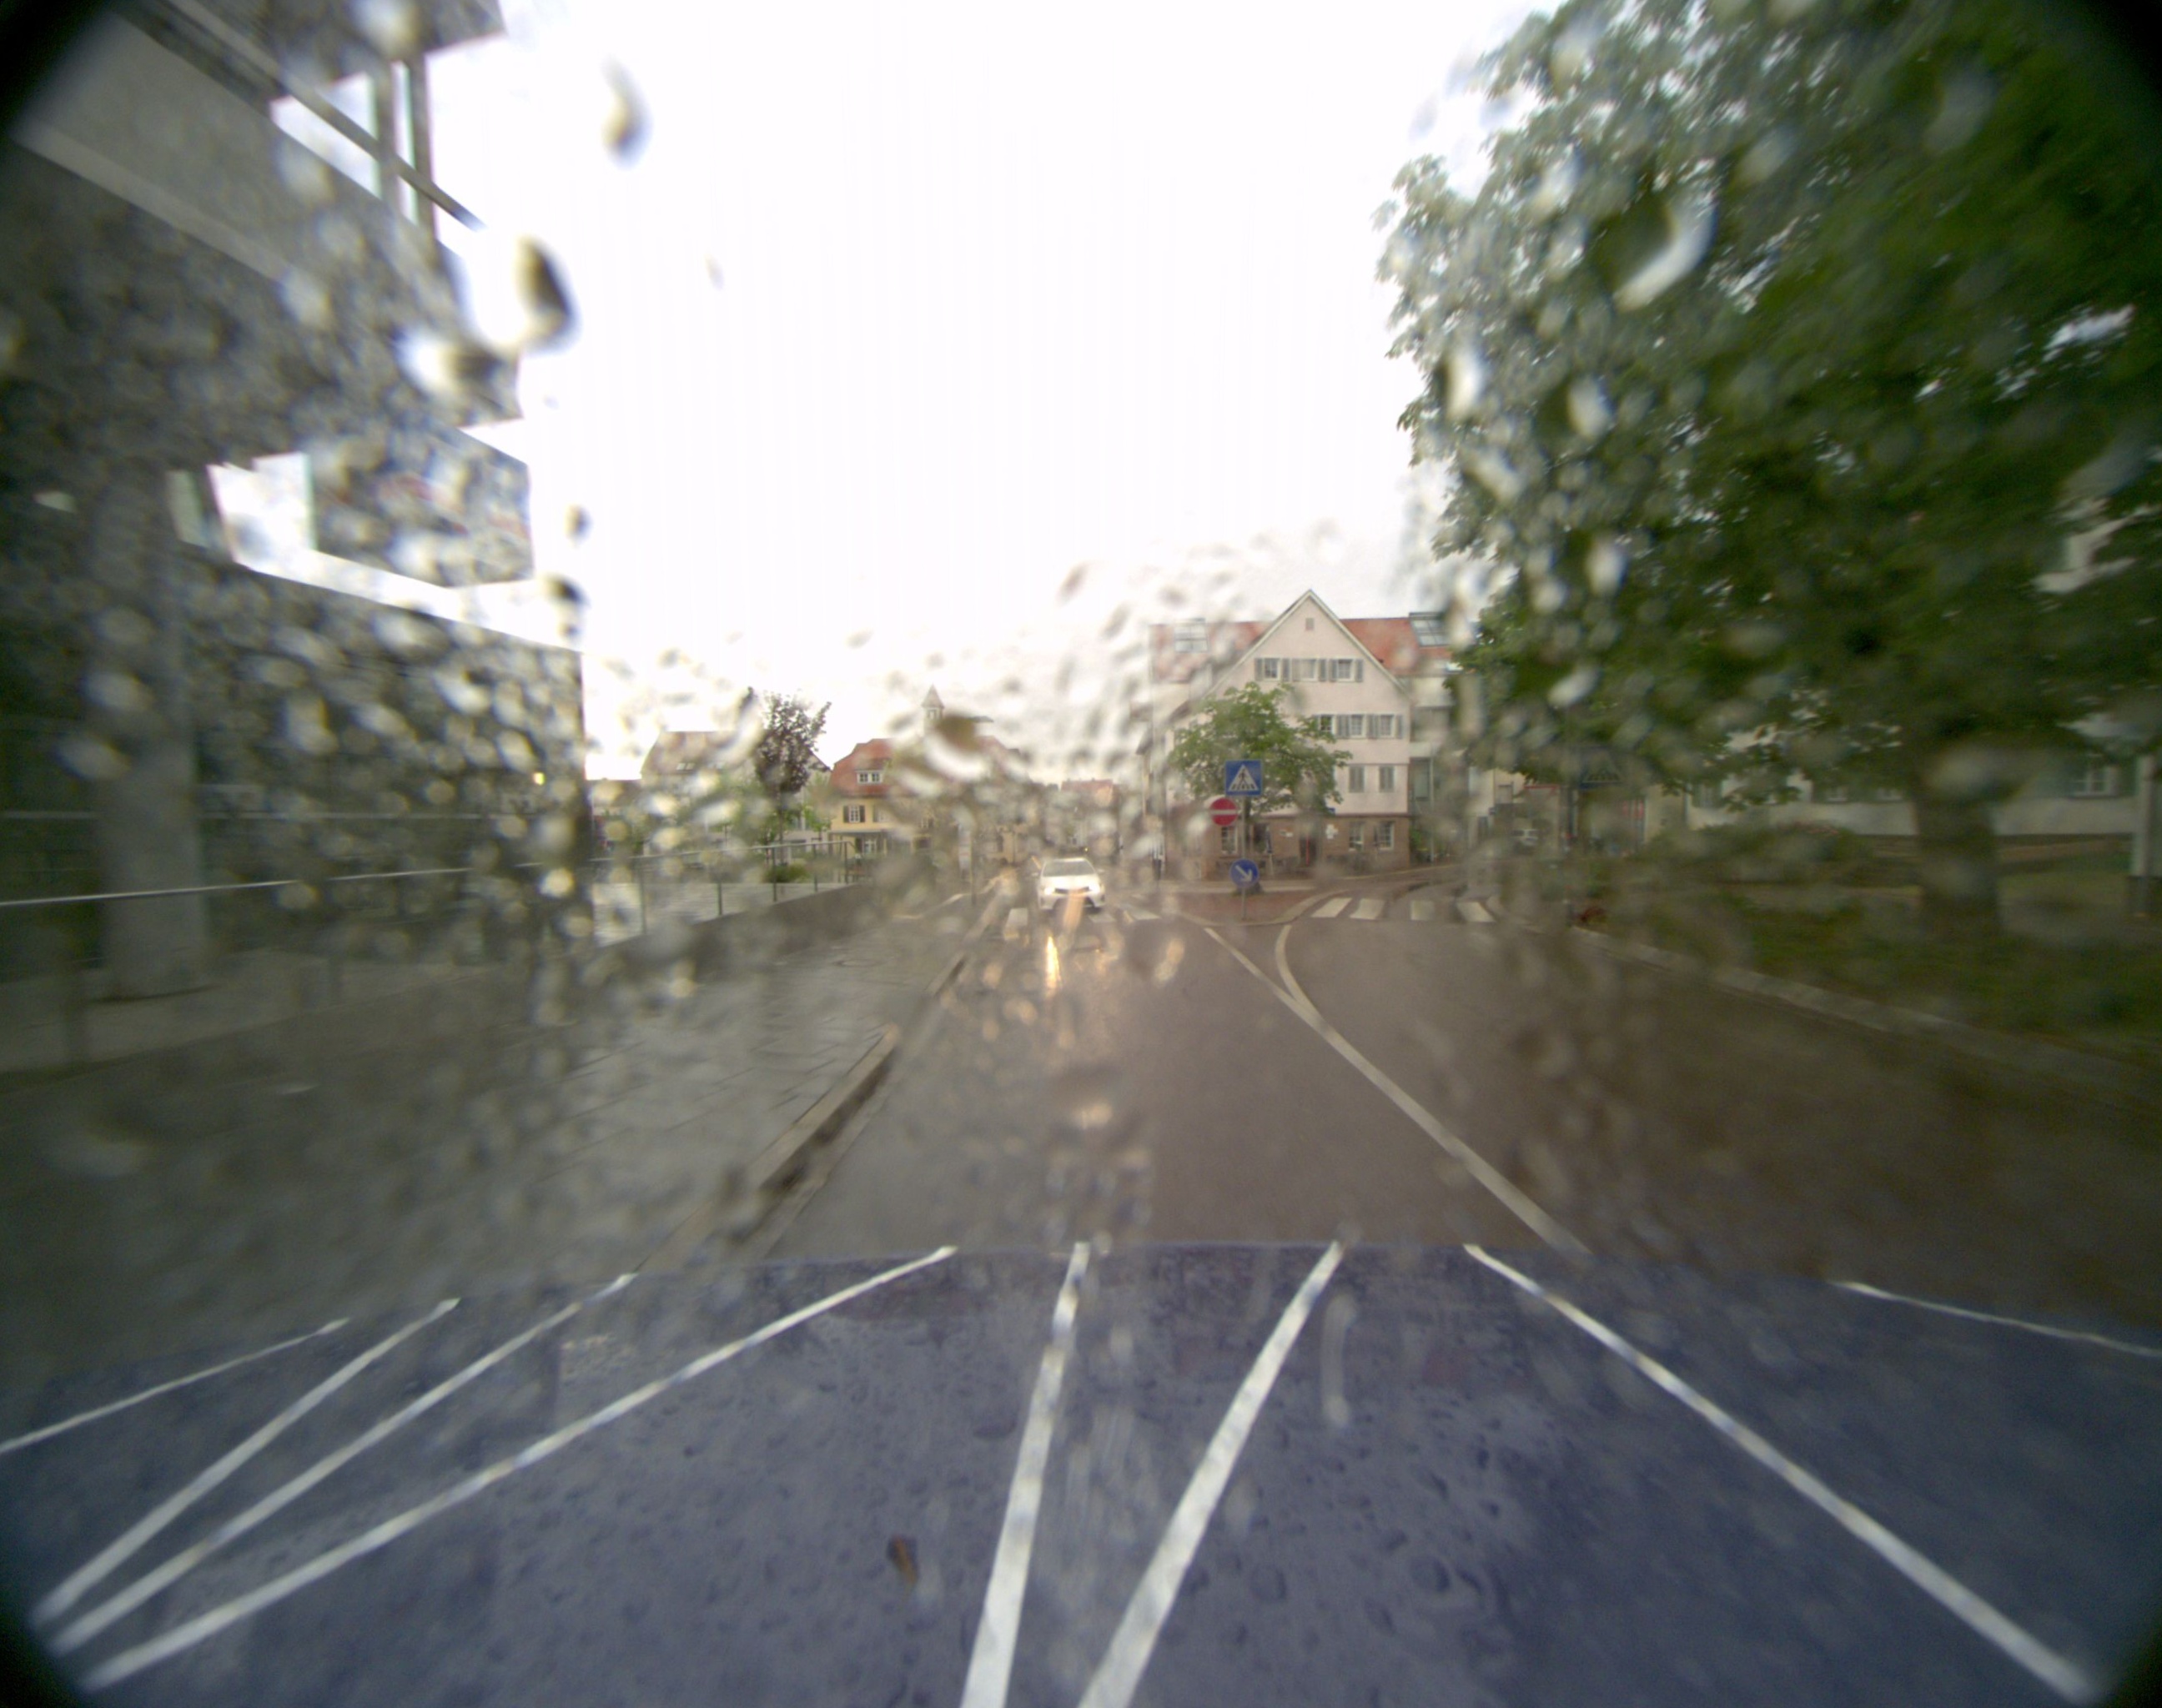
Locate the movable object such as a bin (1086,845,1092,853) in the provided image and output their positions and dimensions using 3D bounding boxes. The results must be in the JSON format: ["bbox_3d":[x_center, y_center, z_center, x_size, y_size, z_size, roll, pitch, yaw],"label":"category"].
[{"bbox_3d":[1.105,-0.647,100.708,0.697,1.071,0.645,-3,2,1],"label":"movable object such as a bin"}]

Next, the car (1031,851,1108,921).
[{"bbox_3d":[-0.290,0.779,21.281,1.868,1.578,4.612,-2,2,0],"label":"car"}]

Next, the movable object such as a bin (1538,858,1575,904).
[{"bbox_3d":[11.556,0.642,18.489,0.634,1.053,0.699,1,2,22],"label":"movable object such as a bin"}]

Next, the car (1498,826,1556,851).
[{"bbox_3d":[29.976,-1.058,51.193,1.828,1.612,3.890,0,2,6],"label":"car"}]

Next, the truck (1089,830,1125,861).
[{"bbox_3d":[2.291,-0.691,68.816,2.406,2.579,6.481,-1,-1,-5],"label":"truck"}]
